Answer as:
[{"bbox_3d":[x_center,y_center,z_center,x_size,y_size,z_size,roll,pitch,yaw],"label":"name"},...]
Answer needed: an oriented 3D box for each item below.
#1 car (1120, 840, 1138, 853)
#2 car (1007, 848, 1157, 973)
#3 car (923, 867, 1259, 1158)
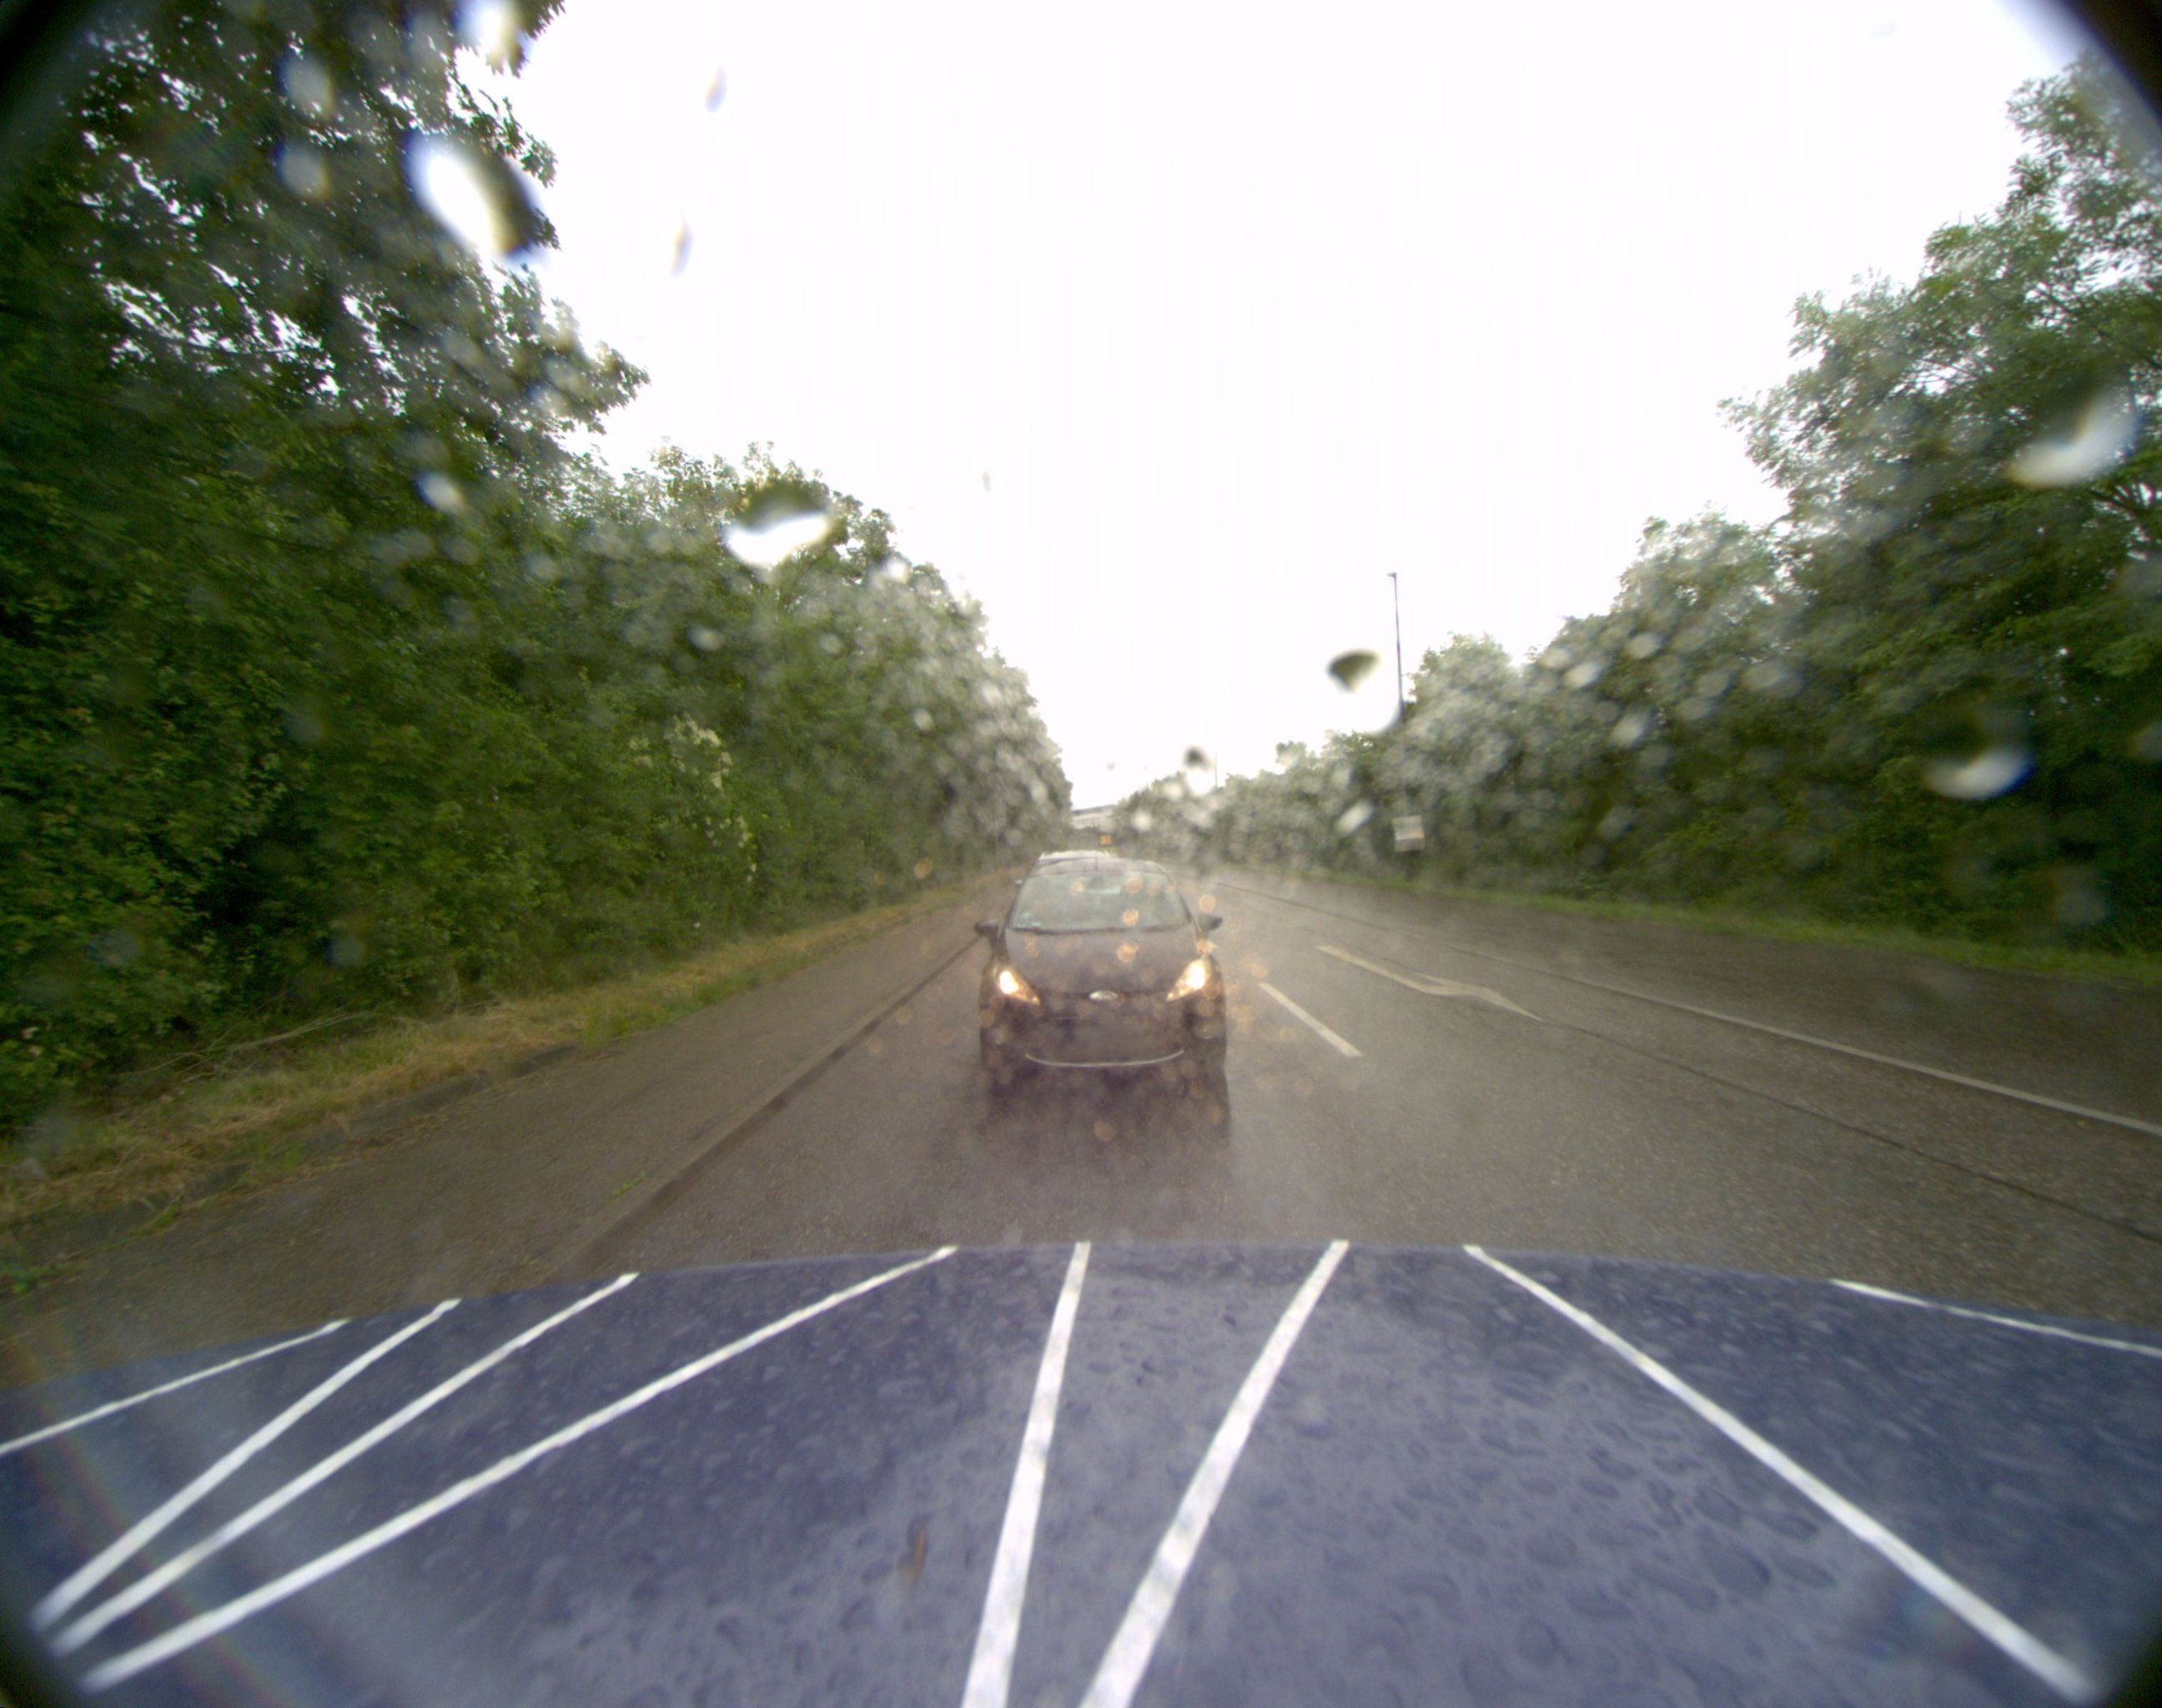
[{"bbox_3d":[6.005,-0.950,95.293,1.998,1.576,3.999,-2,2,1],"label":"car"},{"bbox_3d":[0.040,0.751,12.360,1.998,1.576,3.999,-2,2,1],"label":"car"},{"bbox_3d":[0.084,0.930,6.429,1.839,1.404,4.341,-2,2,1],"label":"car"}]
